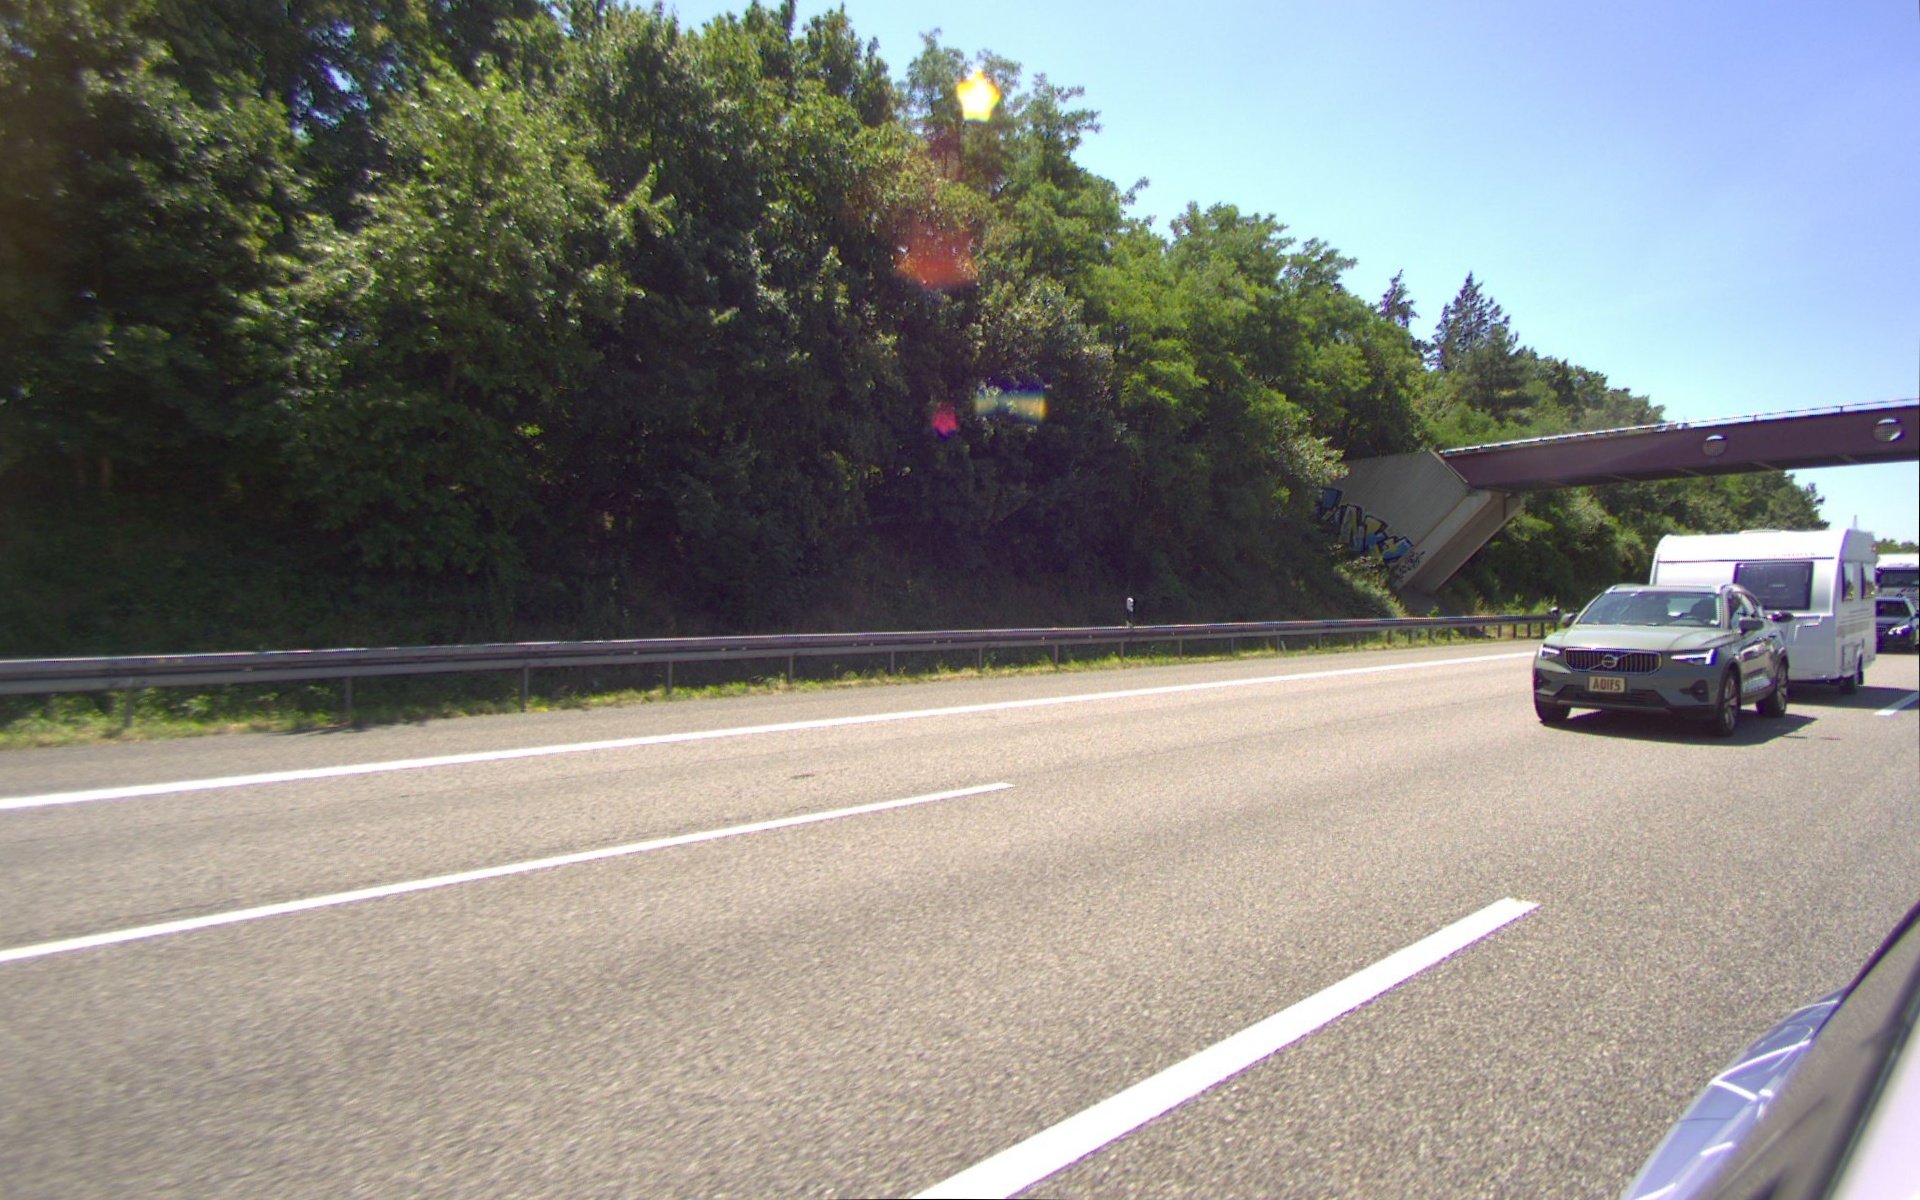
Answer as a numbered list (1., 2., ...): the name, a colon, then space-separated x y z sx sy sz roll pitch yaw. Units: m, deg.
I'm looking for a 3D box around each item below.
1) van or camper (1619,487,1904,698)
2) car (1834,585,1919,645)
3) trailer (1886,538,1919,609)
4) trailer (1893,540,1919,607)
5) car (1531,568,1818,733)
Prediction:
1. van or camper: 12.799 -0.125 15.958 6.239 2.708 2.443 0 1 -42
2. car: 25.682 0.384 27.780 4.654 1.524 1.845 0 0 -40
3. trailer: 58.531 -1.588 61.552 6.674 4.154 2.716 0 1 -43
4. trailer: 64.008 -1.656 66.655 12.966 4.154 2.732 0 1 -43
5. car: 8.781 0.477 12.266 4.621 1.632 1.882 0 1 -42
